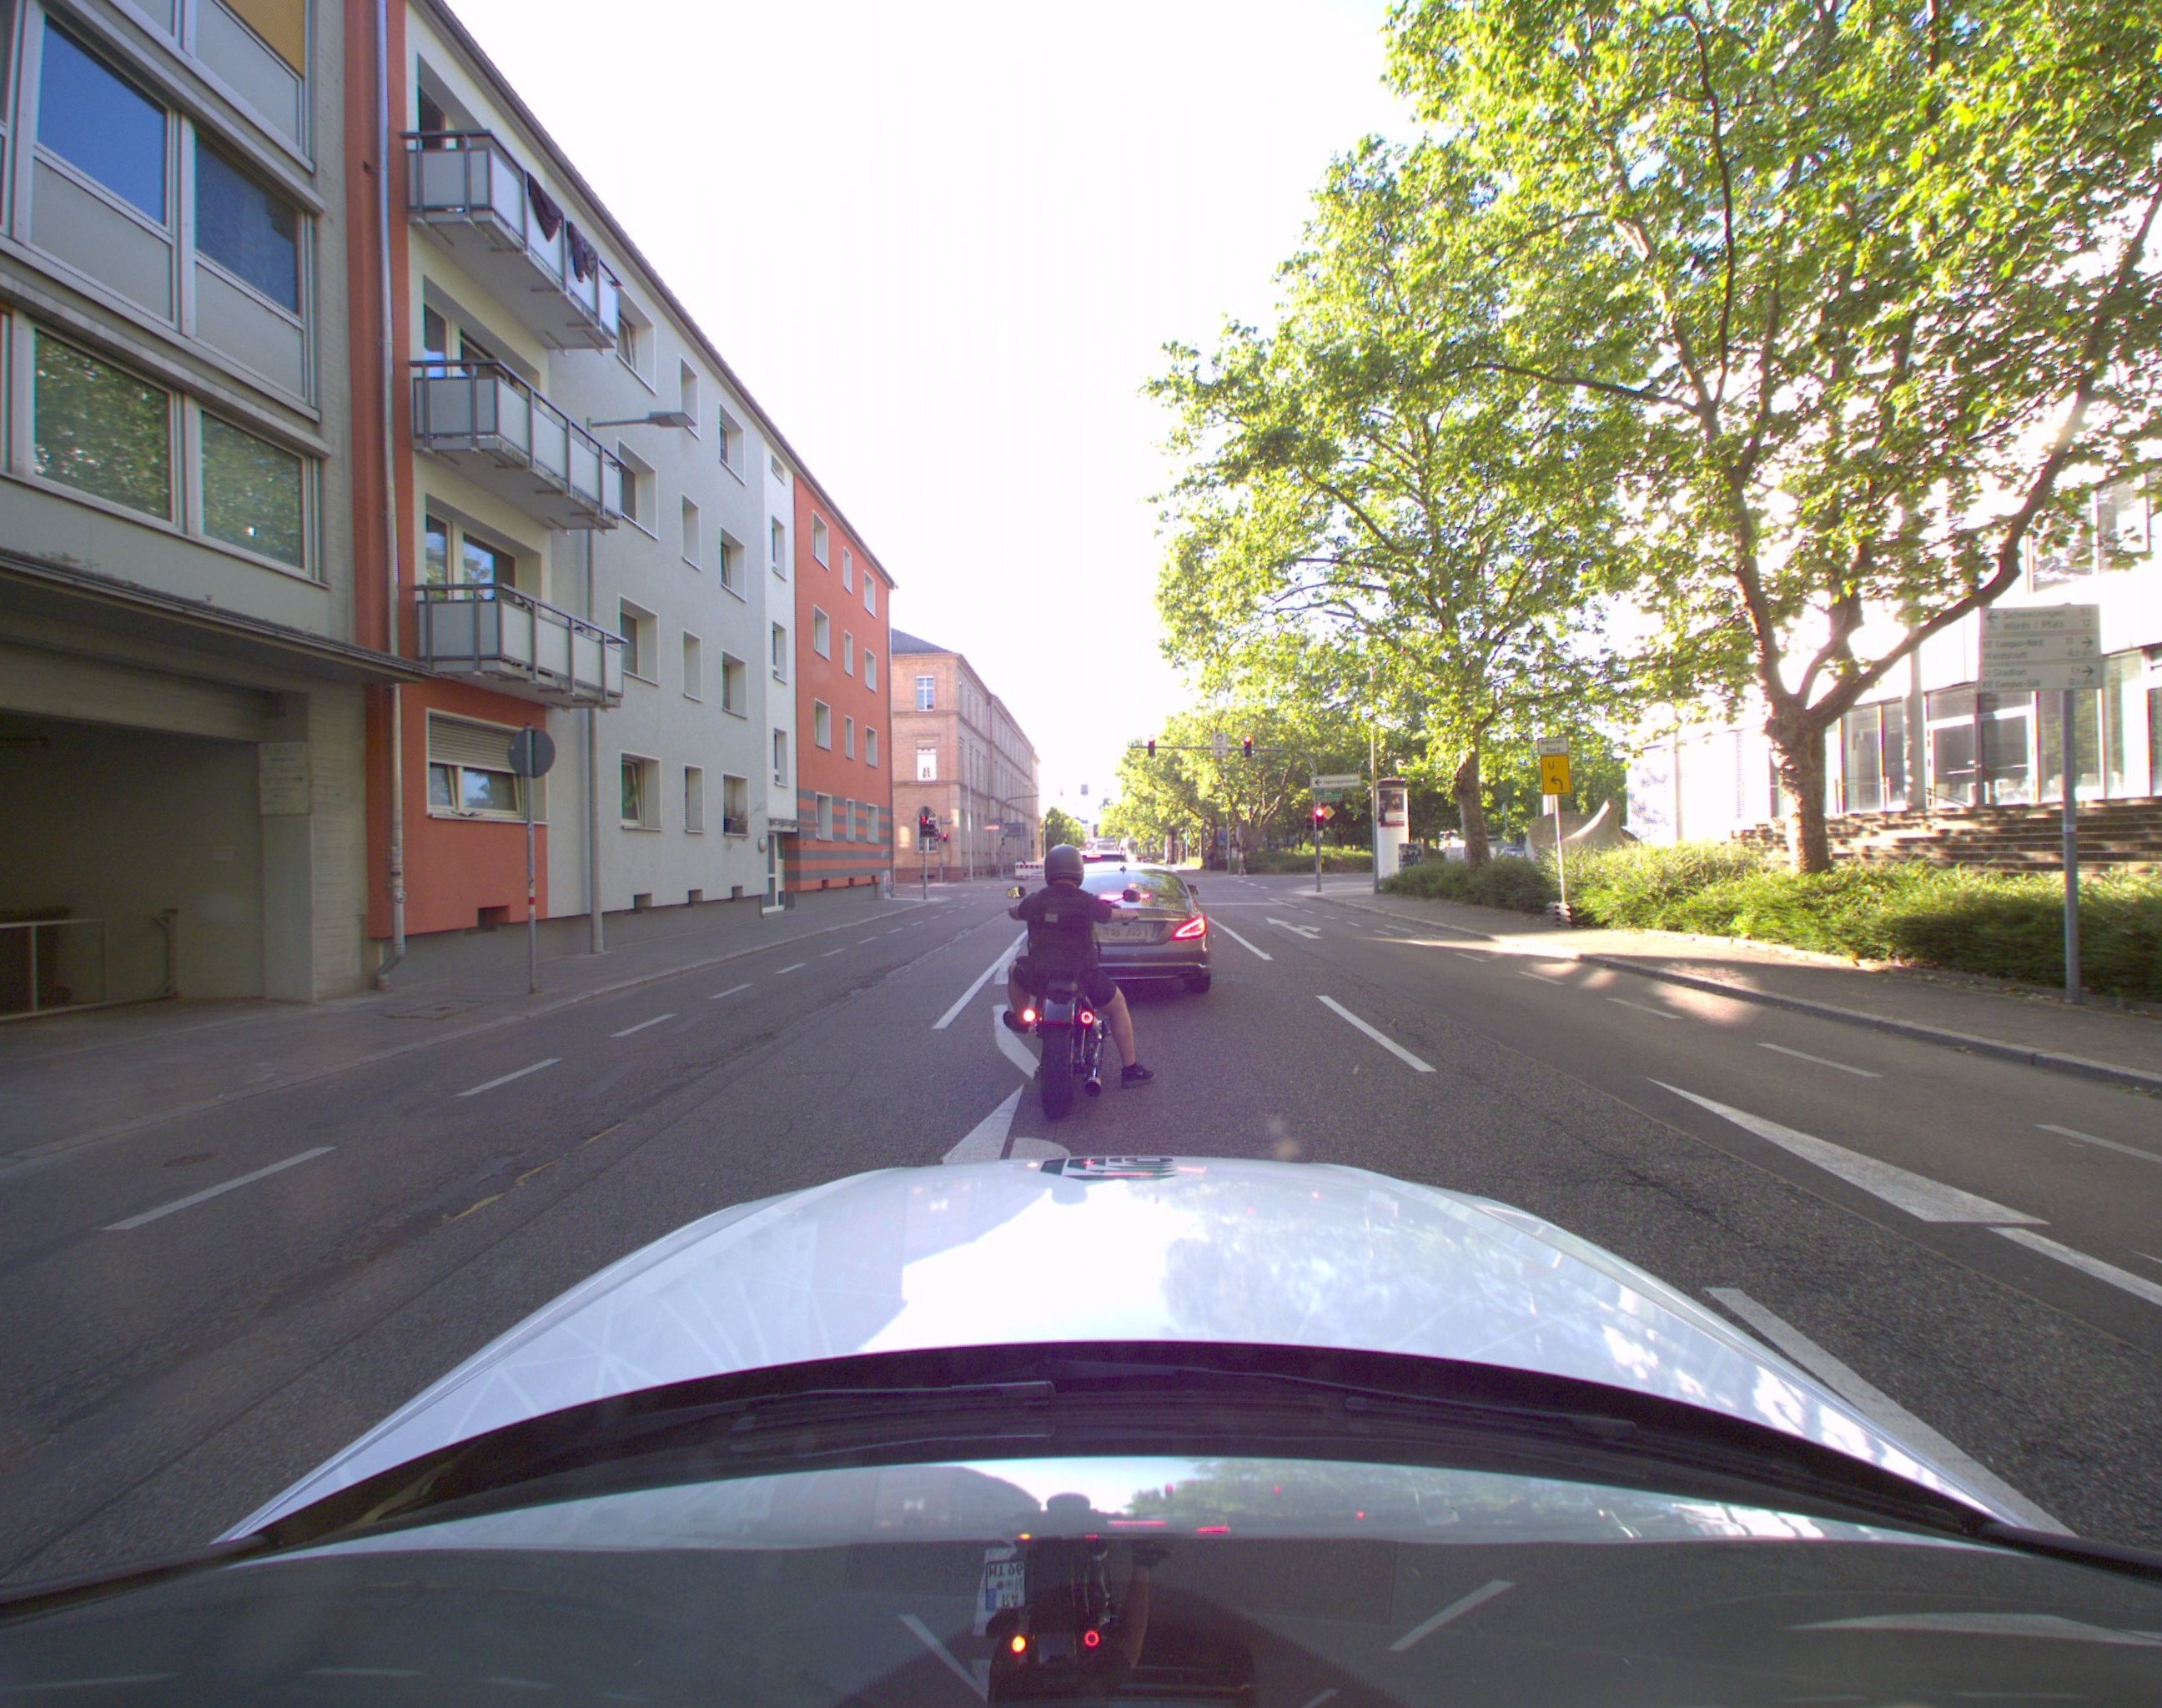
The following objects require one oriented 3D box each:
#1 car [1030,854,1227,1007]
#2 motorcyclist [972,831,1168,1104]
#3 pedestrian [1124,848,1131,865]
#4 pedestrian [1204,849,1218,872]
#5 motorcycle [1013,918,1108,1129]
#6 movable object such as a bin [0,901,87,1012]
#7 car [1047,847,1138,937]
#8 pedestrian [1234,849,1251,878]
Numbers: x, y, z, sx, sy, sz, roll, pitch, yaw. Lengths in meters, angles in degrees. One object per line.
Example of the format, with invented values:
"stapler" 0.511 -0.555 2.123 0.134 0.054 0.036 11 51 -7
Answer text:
"car" 0.516 0.741 9.731 1.875 1.449 3.821 0 0 2
"motorcyclist" -0.044 0.673 5.436 1.145 1.598 1.288 0 -1 1
"pedestrian" 5.755 0.273 100.958 0.761 2.051 0.712 0 -1 1
"pedestrian" 10.769 0.539 67.518 0.753 1.910 0.918 0 -1 -26
"motorcycle" -0.078 1.006 5.452 0.511 1.002 2.014 0 -1 2
"movable object such as a bin" -11.258 1.066 8.636 0.626 1.100 0.659 0 -1 4
"car" 0.275 0.694 16.859 1.615 1.594 4.002 -1 0 2
"pedestrian" 10.604 0.624 53.513 0.996 1.826 1.078 0 -1 8
